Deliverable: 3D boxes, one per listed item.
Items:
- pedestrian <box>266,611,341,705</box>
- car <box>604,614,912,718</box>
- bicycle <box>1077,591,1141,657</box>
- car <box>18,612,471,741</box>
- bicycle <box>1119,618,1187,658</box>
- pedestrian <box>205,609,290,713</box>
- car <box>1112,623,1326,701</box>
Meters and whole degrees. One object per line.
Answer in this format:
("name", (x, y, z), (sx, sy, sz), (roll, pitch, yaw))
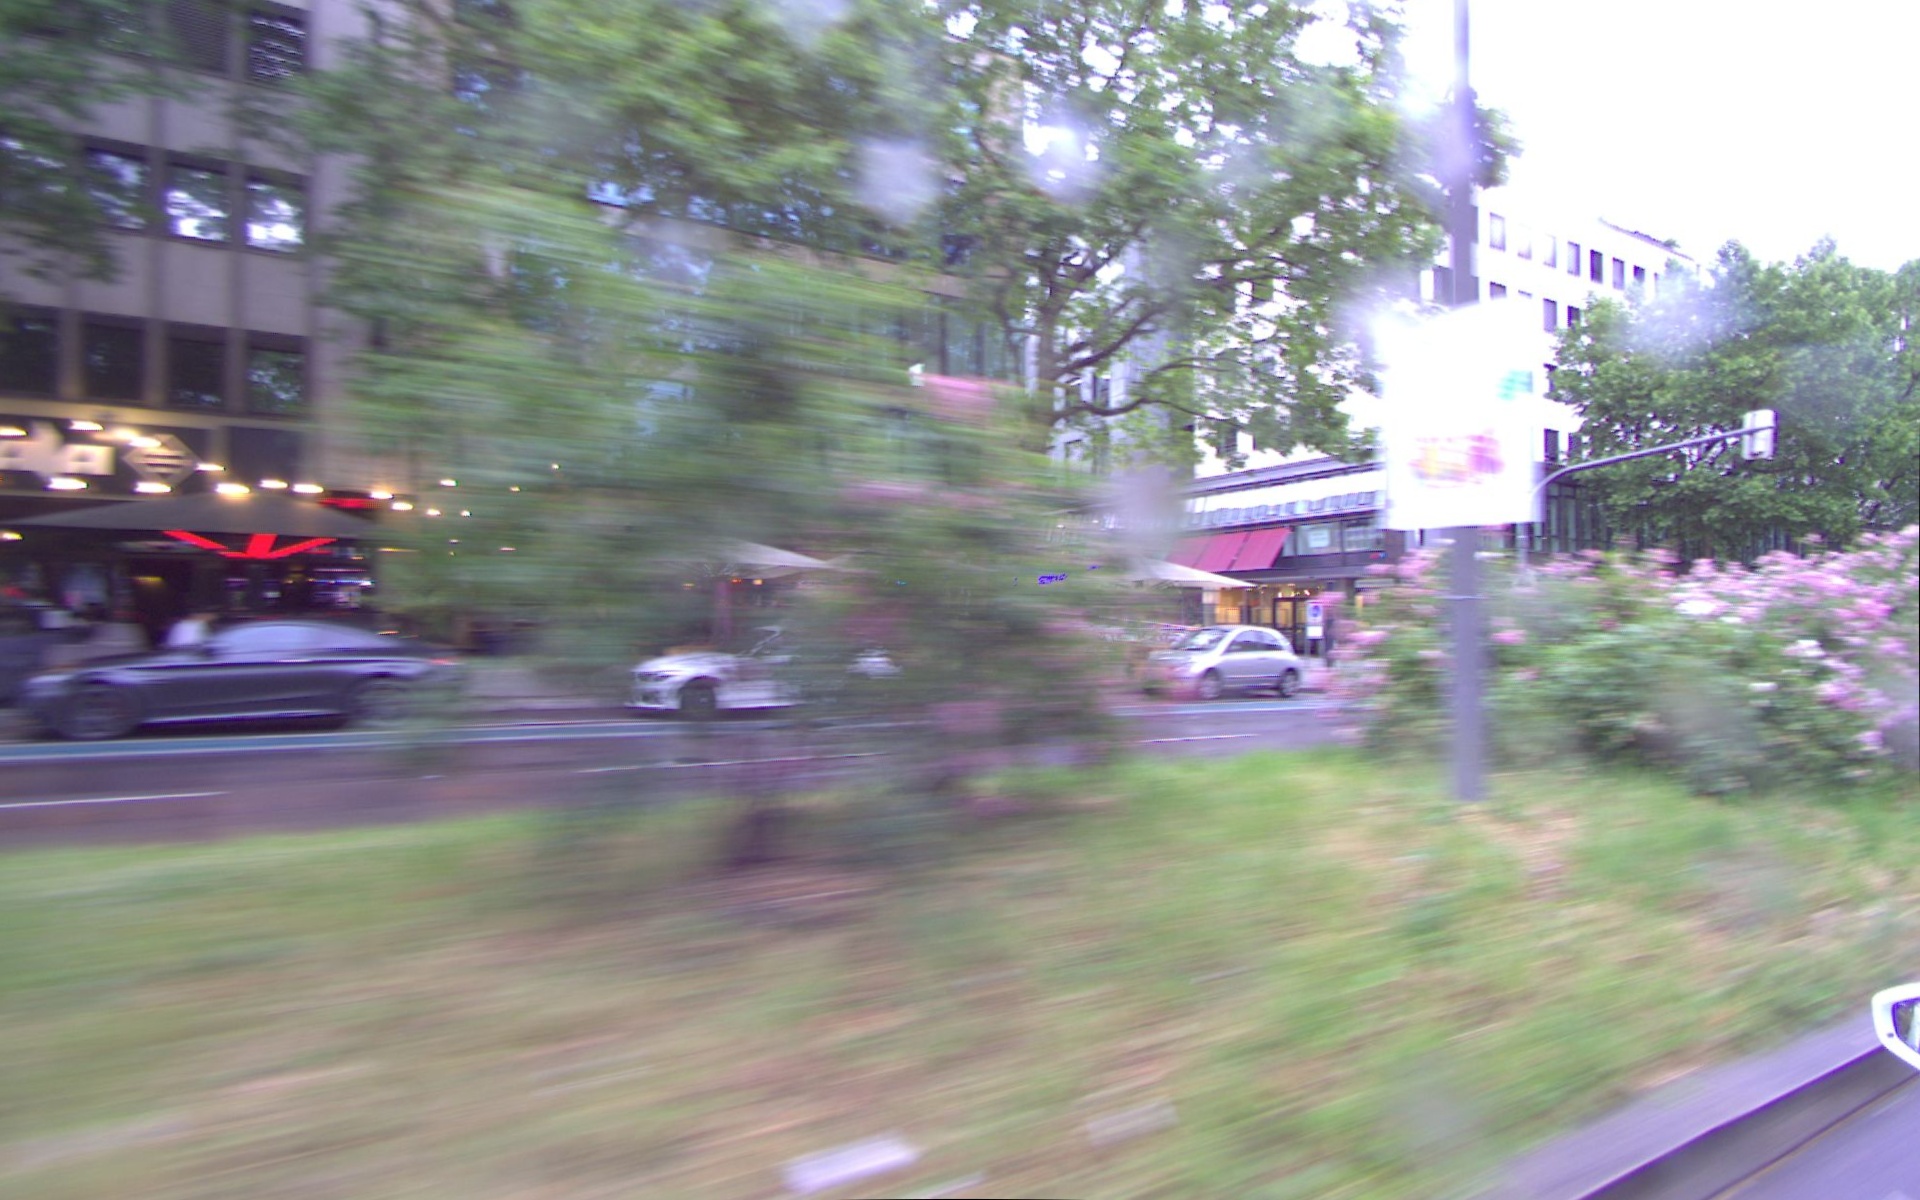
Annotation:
("pedestrian", (-10.214, 0.883, 15.652), (0.923, 1.398, 0.759), (1, -1, -33))
("car", (-3.220, 0.995, 16.220), (4.486, 1.388, 1.984), (1, 1, -30))
("bicycle", (4.777, 0.763, 32.361), (0.682, 2.040, 2.373), (1, -1, -31))
("car", (-8.813, 0.900, 12.894), (4.431, 1.413, 1.816), (2, -1, -30))
("bicycle", (6.426, 1.250, 33.601), (0.683, 1.263, 2.368), (1, -1, -37))
("pedestrian", (-10.727, 0.902, 15.160), (0.963, 1.507, 0.824), (2, -1, -33))
("car", (5.632, 1.280, 21.694), (4.469, 1.529, 1.983), (1, -2, -33))
